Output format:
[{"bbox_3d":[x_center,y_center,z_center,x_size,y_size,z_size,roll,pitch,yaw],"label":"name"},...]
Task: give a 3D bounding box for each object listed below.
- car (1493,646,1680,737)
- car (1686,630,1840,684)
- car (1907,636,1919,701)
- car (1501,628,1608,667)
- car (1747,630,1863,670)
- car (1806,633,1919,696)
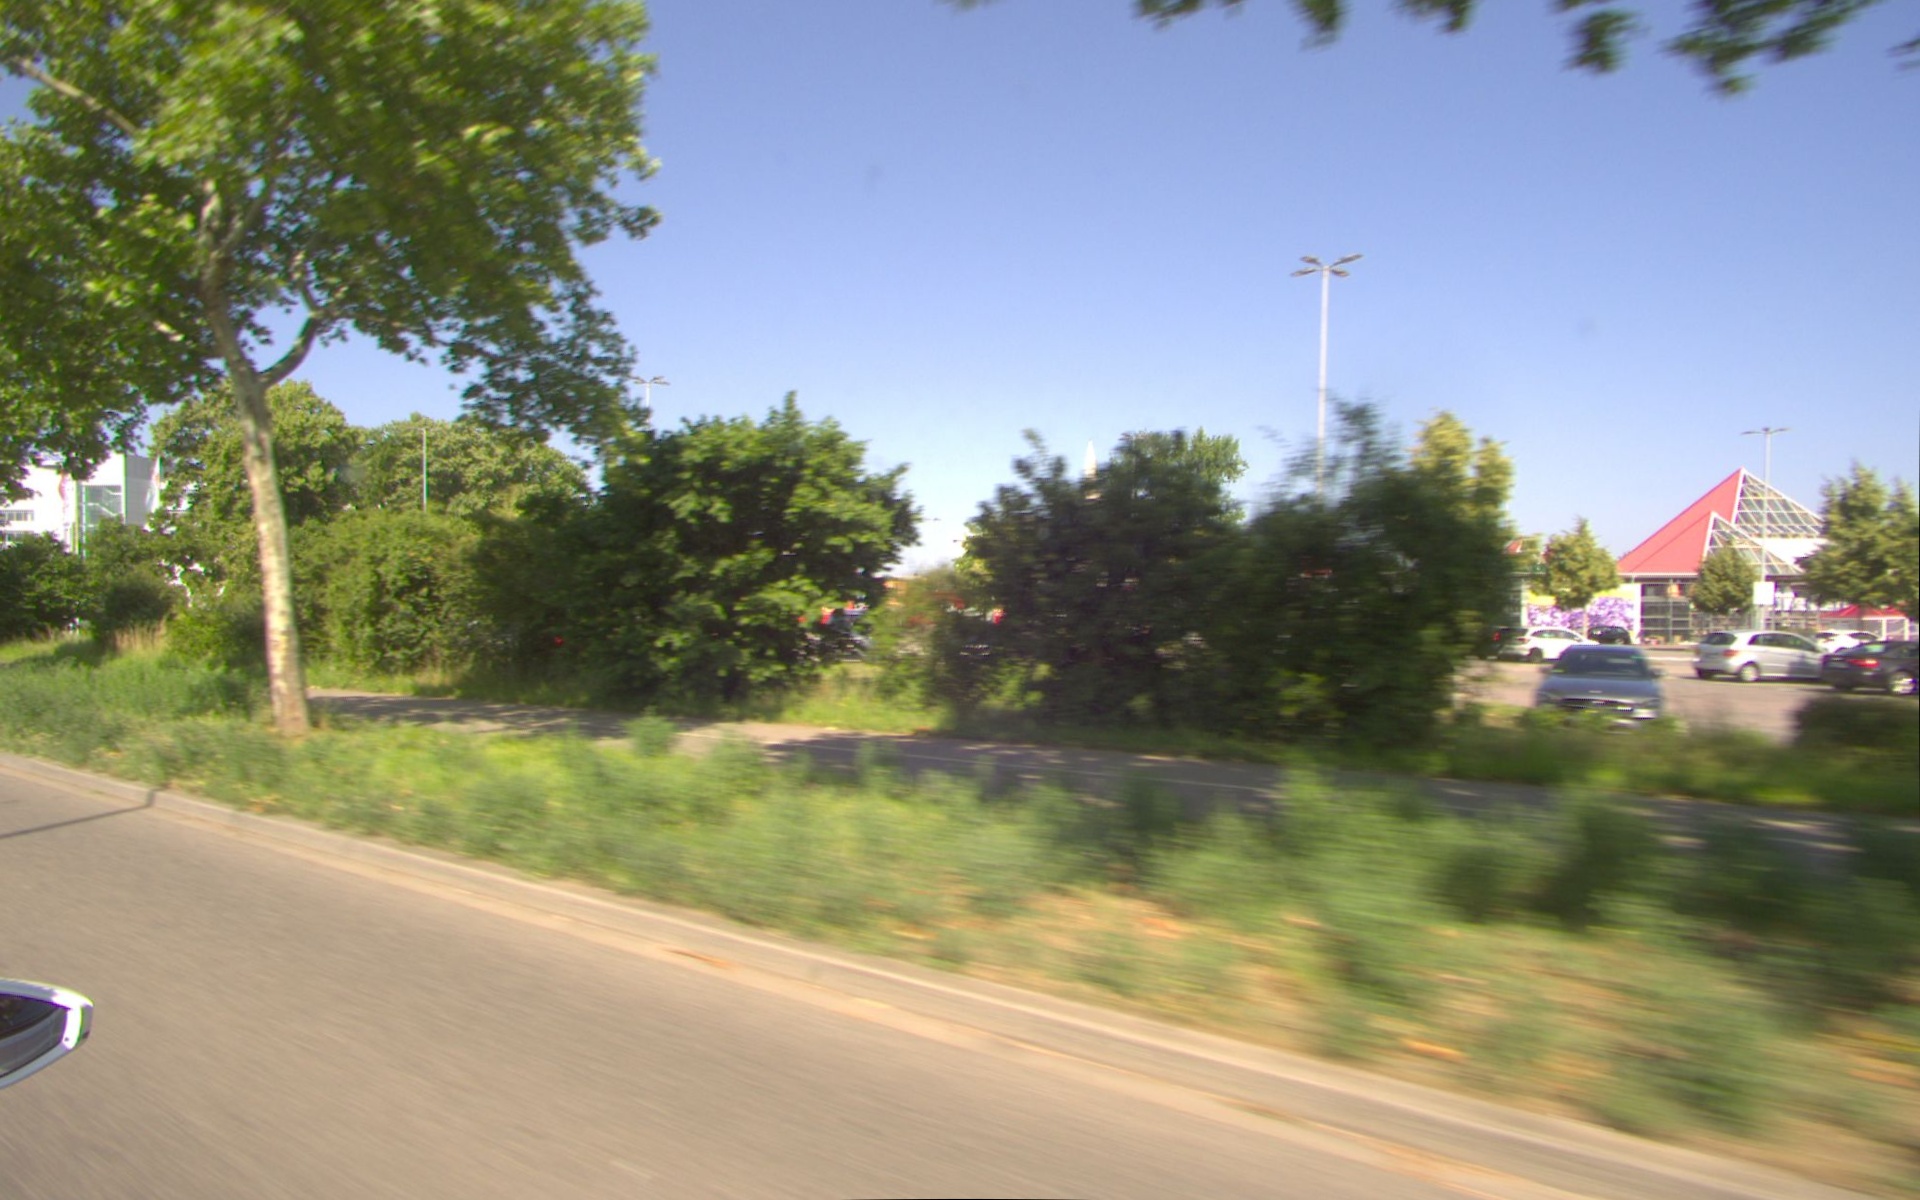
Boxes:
[{"bbox_3d":[10.623,1.484,17.268,1.653,1.367,3.517,0,-2,13],"label":"car"},{"bbox_3d":[24.877,1.754,31.090,3.449,1.571,1.685,1,-2,-2],"label":"car"},{"bbox_3d":[24.920,1.660,23.715,3.449,1.571,1.685,1,-2,-2],"label":"car"},{"bbox_3d":[24.746,1.981,41.759,3.449,1.571,1.685,1,-2,-1],"label":"car"},{"bbox_3d":[39.998,2.332,47.530,3.943,1.816,1.990,-1,-2,32],"label":"car"},{"bbox_3d":[24.375,1.671,25.988,3.449,1.571,1.685,1,-2,-2],"label":"car"}]
